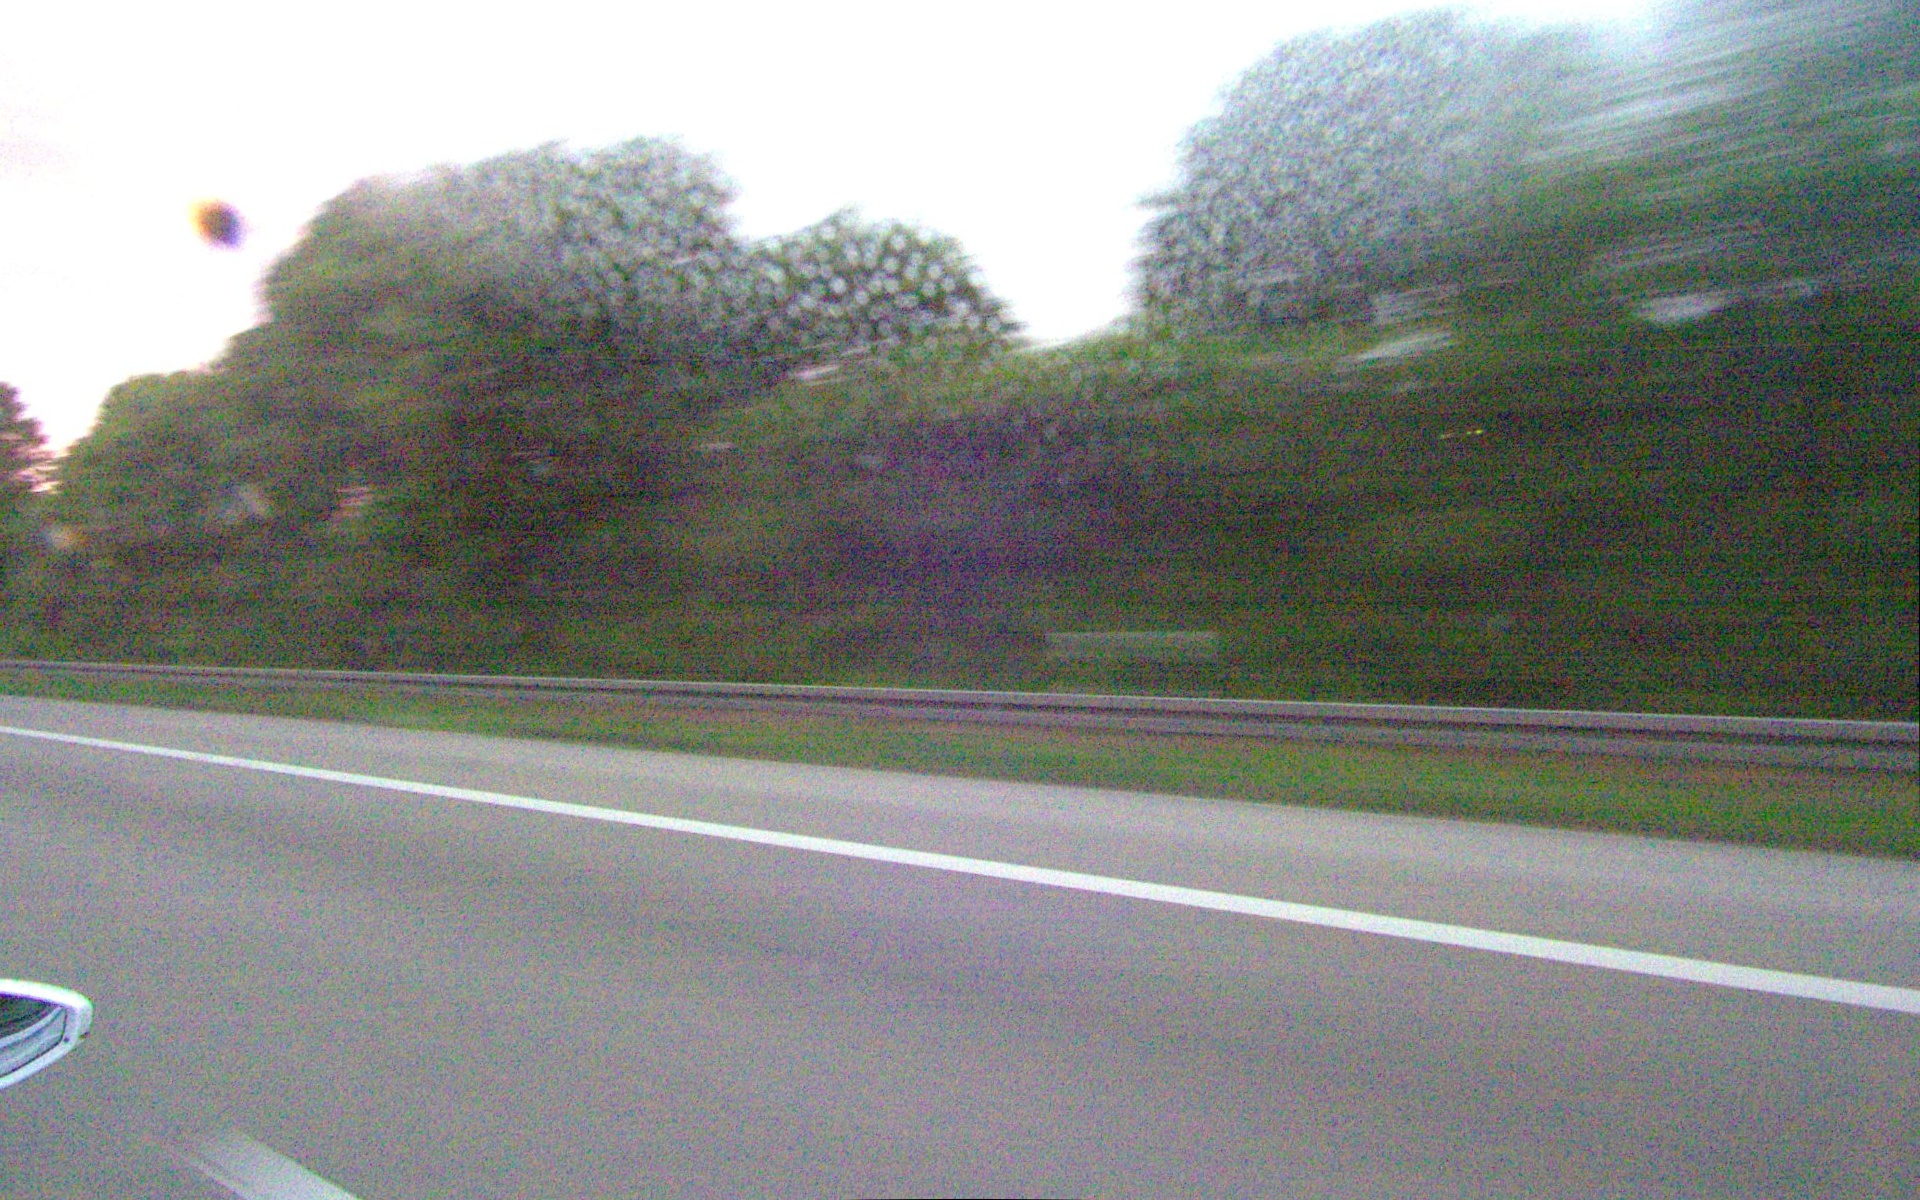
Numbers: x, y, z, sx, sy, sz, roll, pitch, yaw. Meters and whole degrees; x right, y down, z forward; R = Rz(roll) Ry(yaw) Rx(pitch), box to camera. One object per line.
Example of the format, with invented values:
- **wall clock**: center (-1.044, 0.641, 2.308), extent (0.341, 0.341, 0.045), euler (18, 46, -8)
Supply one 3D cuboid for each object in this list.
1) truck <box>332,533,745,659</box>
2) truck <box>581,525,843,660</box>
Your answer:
- **truck**: center (-17.450, 0.074, 40.091), extent (19.222, 4.285, 3.771), euler (-1, 0, 27)
- **truck**: center (-8.846, -0.142, 35.606), extent (8.678, 4.285, 3.769), euler (-1, 0, 27)
